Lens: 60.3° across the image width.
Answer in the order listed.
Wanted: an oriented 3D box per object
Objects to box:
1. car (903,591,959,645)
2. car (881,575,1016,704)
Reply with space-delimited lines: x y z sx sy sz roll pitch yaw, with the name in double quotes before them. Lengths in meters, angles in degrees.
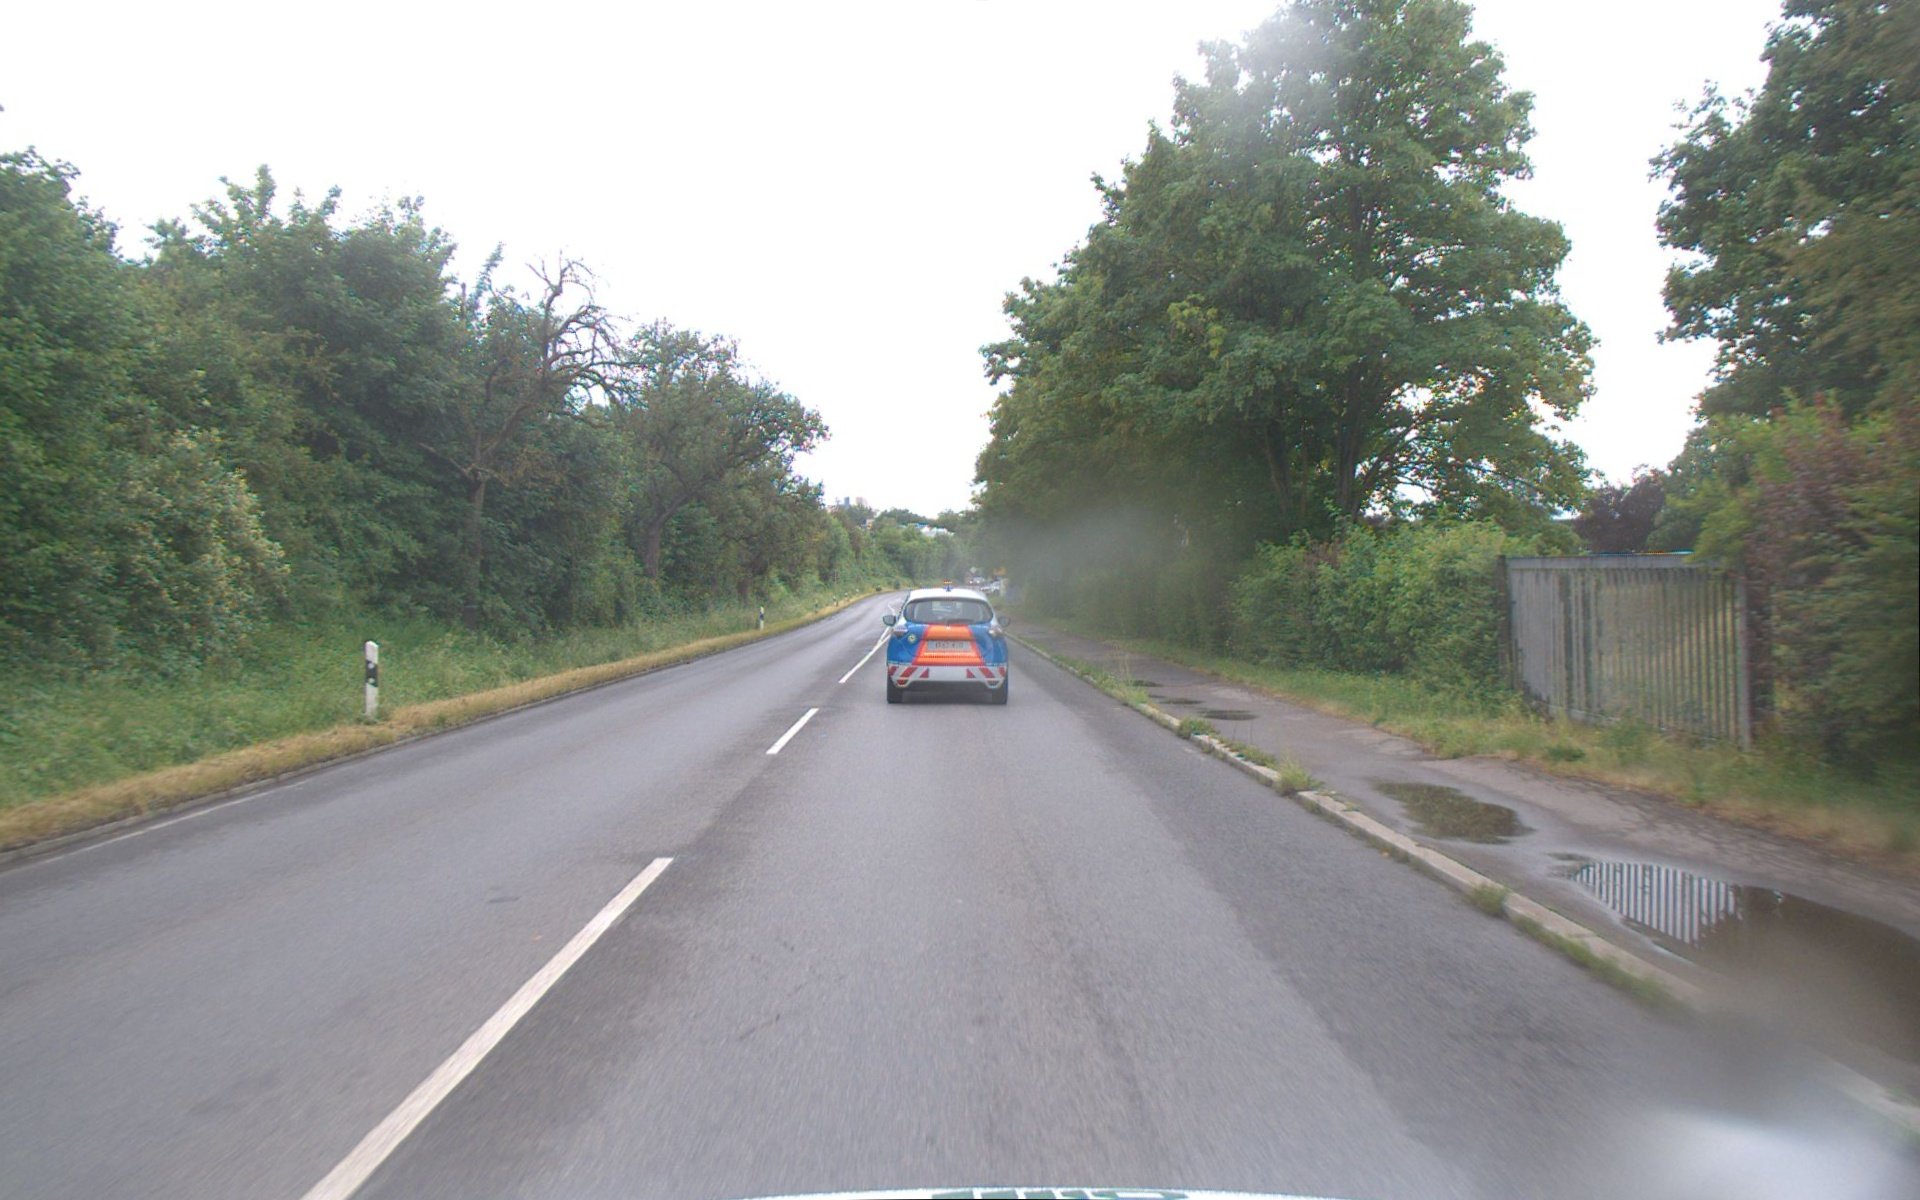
"car" -0.925 0.551 52.199 1.659 1.623 3.855 1 0 -1
"car" -0.190 0.526 24.020 1.769 1.697 3.855 1 0 -1
